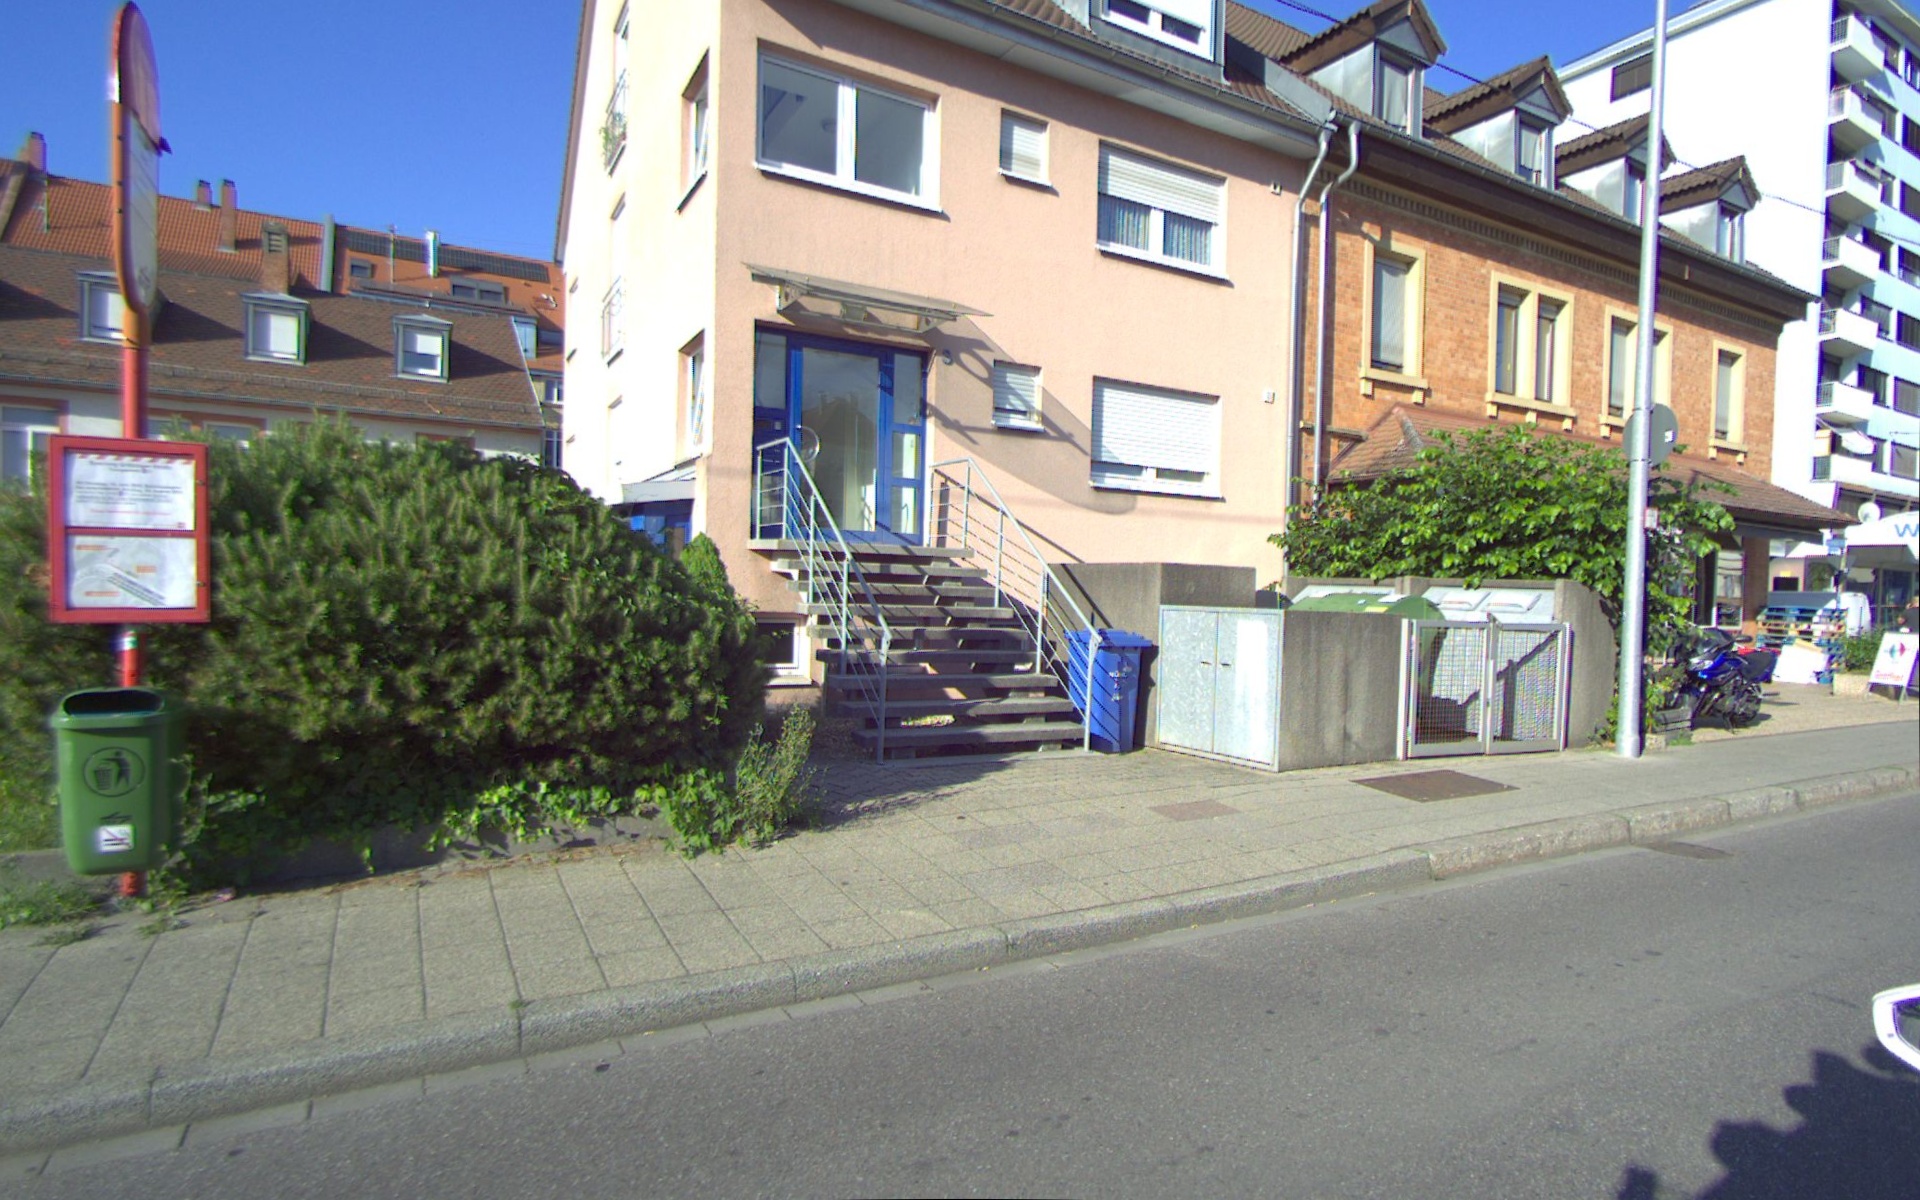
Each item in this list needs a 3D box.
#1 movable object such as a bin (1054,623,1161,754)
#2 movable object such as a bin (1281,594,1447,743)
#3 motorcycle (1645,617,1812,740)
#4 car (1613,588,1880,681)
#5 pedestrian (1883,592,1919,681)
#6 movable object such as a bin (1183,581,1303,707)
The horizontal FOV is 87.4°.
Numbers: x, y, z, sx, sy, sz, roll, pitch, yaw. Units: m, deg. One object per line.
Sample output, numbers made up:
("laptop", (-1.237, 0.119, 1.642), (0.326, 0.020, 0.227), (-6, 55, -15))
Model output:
("movable object such as a bin", (1.307, 0.765, 8.983), (0.594, 1.080, 0.755), (1, 1, -29))
("movable object such as a bin", (4.294, 0.679, 10.730), (0.981, 1.449, 1.299), (1, 1, -33))
("motorcycle", (9.065, 0.877, 11.821), (2.208, 1.299, 0.834), (1, 1, -33))
("car", (18.498, 0.719, 23.859), (1.977, 1.959, 4.590), (1, 0, -31))
("pedestrian", (20.724, 0.786, 21.771), (0.785, 1.893, 0.814), (0, 1, -29))
("movable object such as a bin", (3.416, 0.503, 12.148), (1.031, 1.449, 0.916), (1, 1, -32))
